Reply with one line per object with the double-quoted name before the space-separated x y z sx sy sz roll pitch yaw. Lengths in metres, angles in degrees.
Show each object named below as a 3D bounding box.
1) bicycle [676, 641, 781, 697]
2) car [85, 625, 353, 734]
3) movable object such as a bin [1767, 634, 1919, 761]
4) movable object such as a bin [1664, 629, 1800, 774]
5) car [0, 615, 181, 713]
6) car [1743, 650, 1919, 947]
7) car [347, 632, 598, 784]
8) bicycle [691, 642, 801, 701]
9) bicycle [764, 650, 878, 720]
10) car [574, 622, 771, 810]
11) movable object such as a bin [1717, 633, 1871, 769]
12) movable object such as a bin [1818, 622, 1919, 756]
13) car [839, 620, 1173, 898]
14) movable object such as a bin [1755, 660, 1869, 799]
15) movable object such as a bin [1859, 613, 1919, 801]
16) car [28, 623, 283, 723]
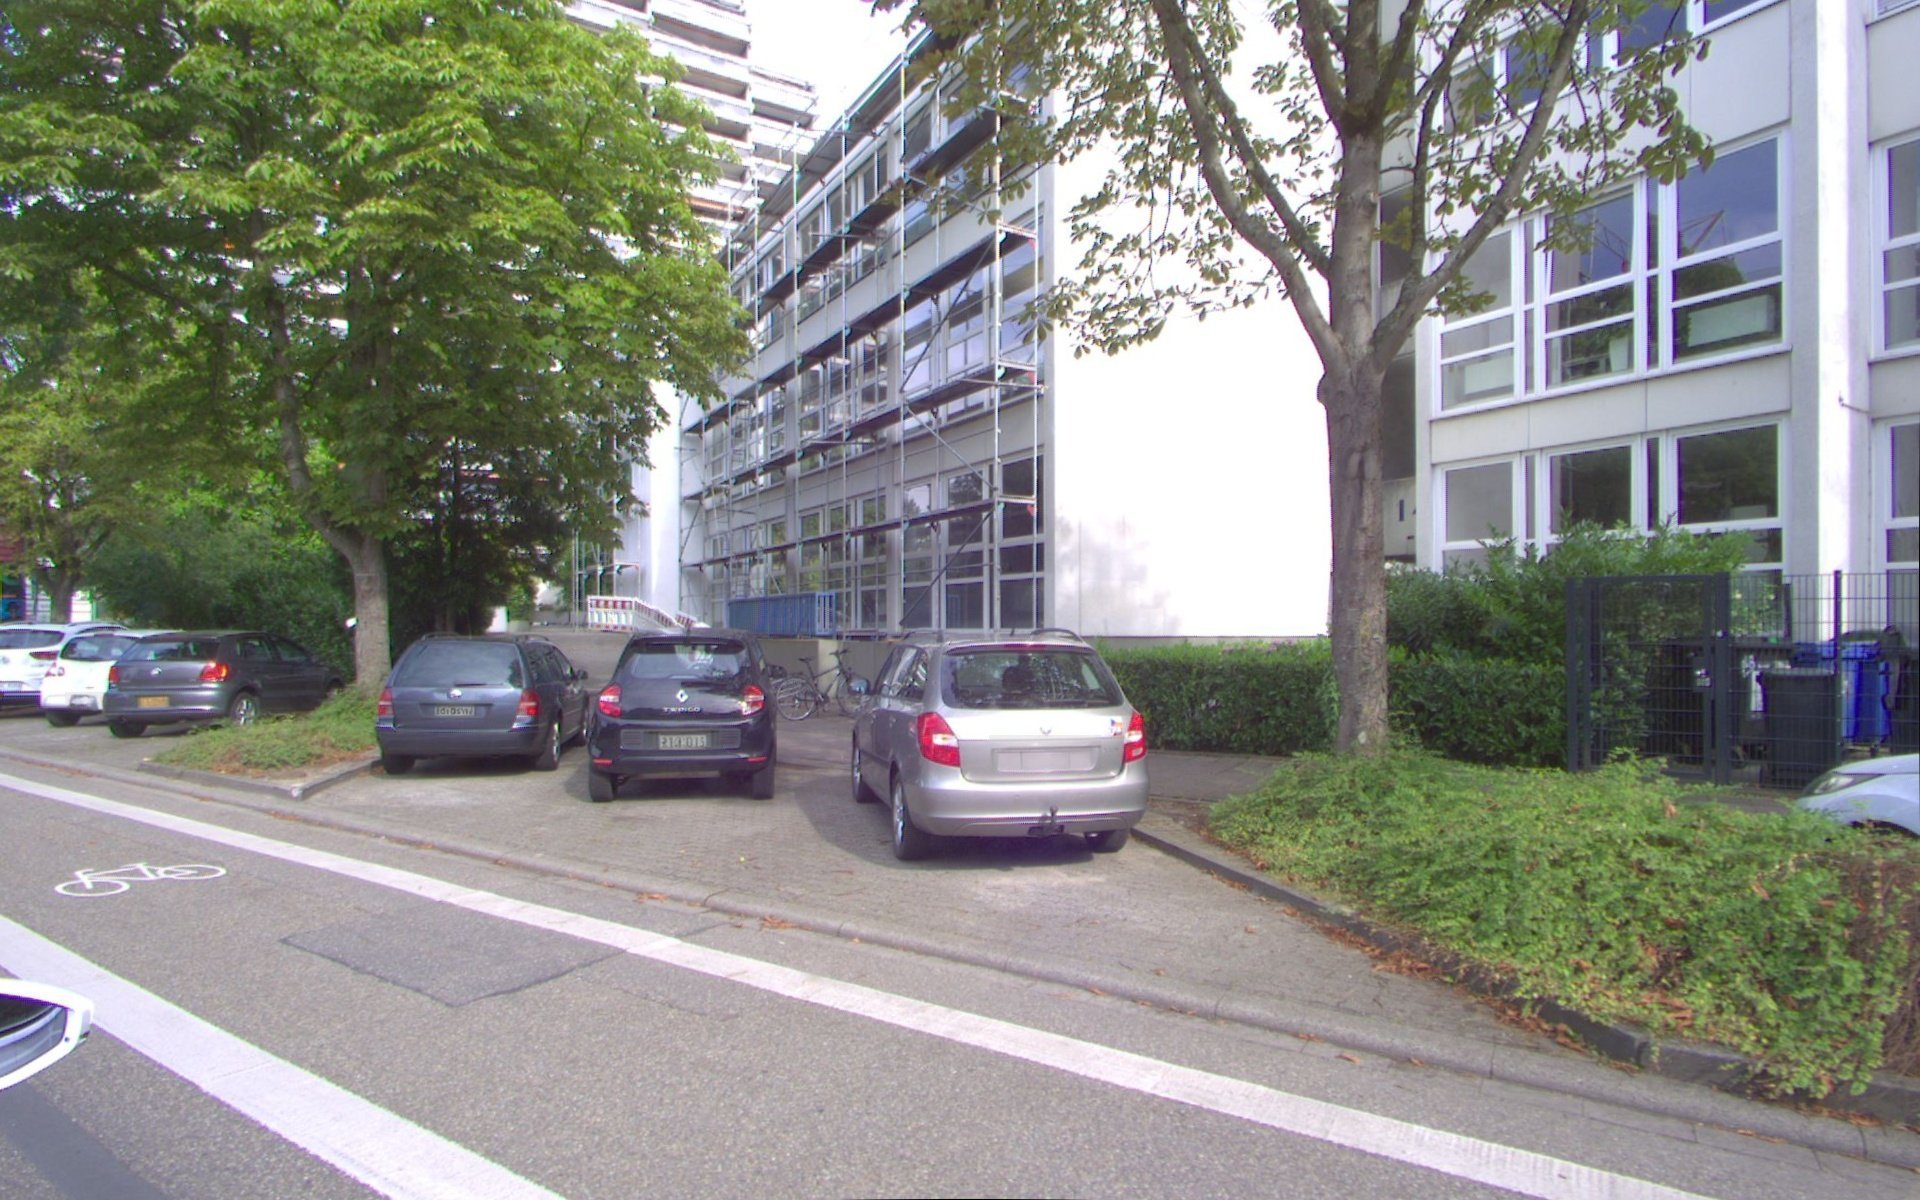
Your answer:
"bicycle" -4.544 1.336 19.640 1.944 1.057 0.593 1 -1 -20
"car" -11.010 1.121 15.218 1.650 1.437 3.647 0 -2 -6
"movable object such as a bin" 10.465 1.106 11.857 1.160 1.388 1.171 1 -1 -36
"movable object such as a bin" 8.159 1.027 10.591 1.012 1.425 0.906 1 -1 -36
"car" -16.205 1.119 18.333 1.651 1.623 3.644 0 -2 -12
"car" 5.647 0.945 3.969 1.604 1.411 3.858 1 -2 -13
"car" -5.437 1.097 11.744 1.783 1.433 4.166 0 -2 -13
"bicycle" -4.024 1.333 18.905 1.949 1.057 0.591 1 -1 -30
"bicycle" -2.287 1.386 16.550 1.813 1.057 0.451 0 0 -29
"car" -2.733 1.021 10.147 1.566 1.557 3.416 1 -2 -10
"movable object such as a bin" 9.320 1.080 11.203 1.050 1.409 1.111 1 -1 -36
"movable object such as a bin" 11.649 1.081 12.517 1.160 1.588 1.171 1 -1 -36
"car" 0.060 0.965 7.771 1.566 1.557 4.050 1 -2 -13
"movable object such as a bin" 7.542 1.113 8.899 0.734 1.119 0.781 -1 -1 38
"movable object such as a bin" 8.679 0.894 8.514 1.397 1.549 1.322 -1 -1 37
"car" -13.348 1.151 16.920 1.650 1.493 3.647 0 -2 -6
